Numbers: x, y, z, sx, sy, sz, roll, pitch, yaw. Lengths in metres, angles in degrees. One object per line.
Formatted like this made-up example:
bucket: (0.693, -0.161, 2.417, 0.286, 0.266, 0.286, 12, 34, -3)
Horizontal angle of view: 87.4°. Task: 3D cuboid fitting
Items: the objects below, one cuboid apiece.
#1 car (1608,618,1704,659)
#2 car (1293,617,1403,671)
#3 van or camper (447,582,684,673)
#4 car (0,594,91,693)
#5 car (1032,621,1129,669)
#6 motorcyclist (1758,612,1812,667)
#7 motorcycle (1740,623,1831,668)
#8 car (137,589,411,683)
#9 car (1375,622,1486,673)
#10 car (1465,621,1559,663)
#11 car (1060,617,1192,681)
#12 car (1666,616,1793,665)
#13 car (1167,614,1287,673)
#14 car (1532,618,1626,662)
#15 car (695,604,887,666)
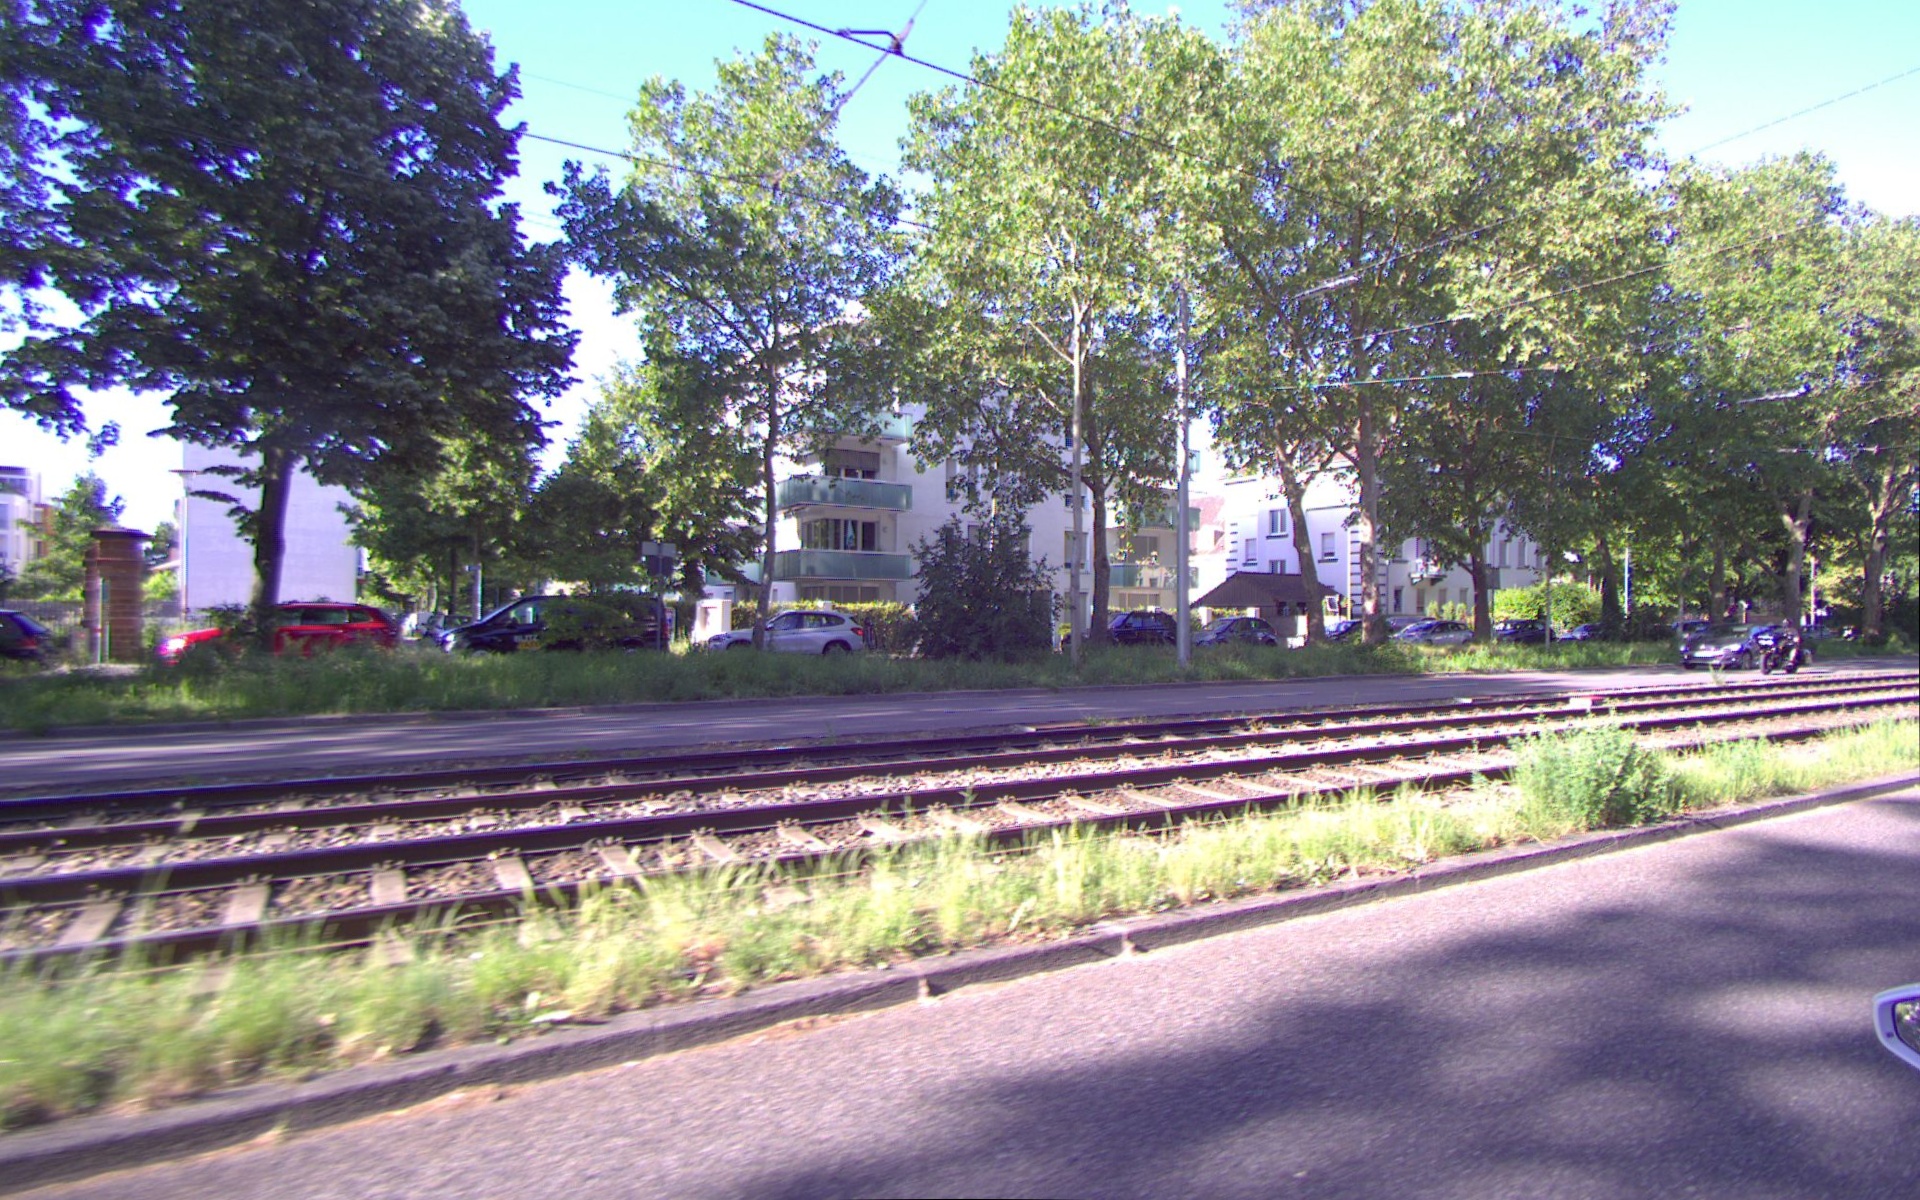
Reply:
car: (36.355, 1.986, 52.436, 5.207, 2.040, 2.143, 1, -1, -31)
car: (15.438, 1.723, 39.966, 4.052, 2.040, 1.985, 1, -1, -29)
van or camper: (-9.706, 0.672, 24.824, 5.157, 2.040, 2.254, 1, -1, -31)
car: (-19.463, 0.798, 18.697, 4.687, 1.833, 2.097, 1, -1, -33)
car: (5.440, 2.000, 45.218, 3.952, 2.040, 1.984, 1, -1, -30)
motorcyclist: (23.718, 1.127, 28.869, 0.947, 1.533, 0.939, 1, -1, -30)
motorcycle: (23.793, 1.291, 28.916, 3.312, 1.228, 0.959, 1, -1, -31)
car: (-14.612, 0.739, 21.756, 4.685, 1.833, 2.097, 1, -1, -32)
car: (20.107, 1.977, 42.894, 4.625, 2.040, 1.985, 1, -1, -28)
car: (25.660, 1.908, 46.628, 4.500, 1.860, 1.812, 1, -1, -31)
car: (5.640, 1.613, 34.033, 4.124, 2.040, 1.984, 1, -1, -30)
car: (25.492, 1.360, 33.257, 4.287, 1.528, 1.788, 1, -4, -30)
car: (9.756, 1.544, 36.645, 4.045, 2.040, 1.984, 1, -1, -31)
car: (30.294, 1.904, 49.129, 4.629, 2.040, 1.984, 1, -1, -30)
car: (-4.738, 0.990, 28.163, 5.012, 1.619, 2.025, 1, -3, -21)
